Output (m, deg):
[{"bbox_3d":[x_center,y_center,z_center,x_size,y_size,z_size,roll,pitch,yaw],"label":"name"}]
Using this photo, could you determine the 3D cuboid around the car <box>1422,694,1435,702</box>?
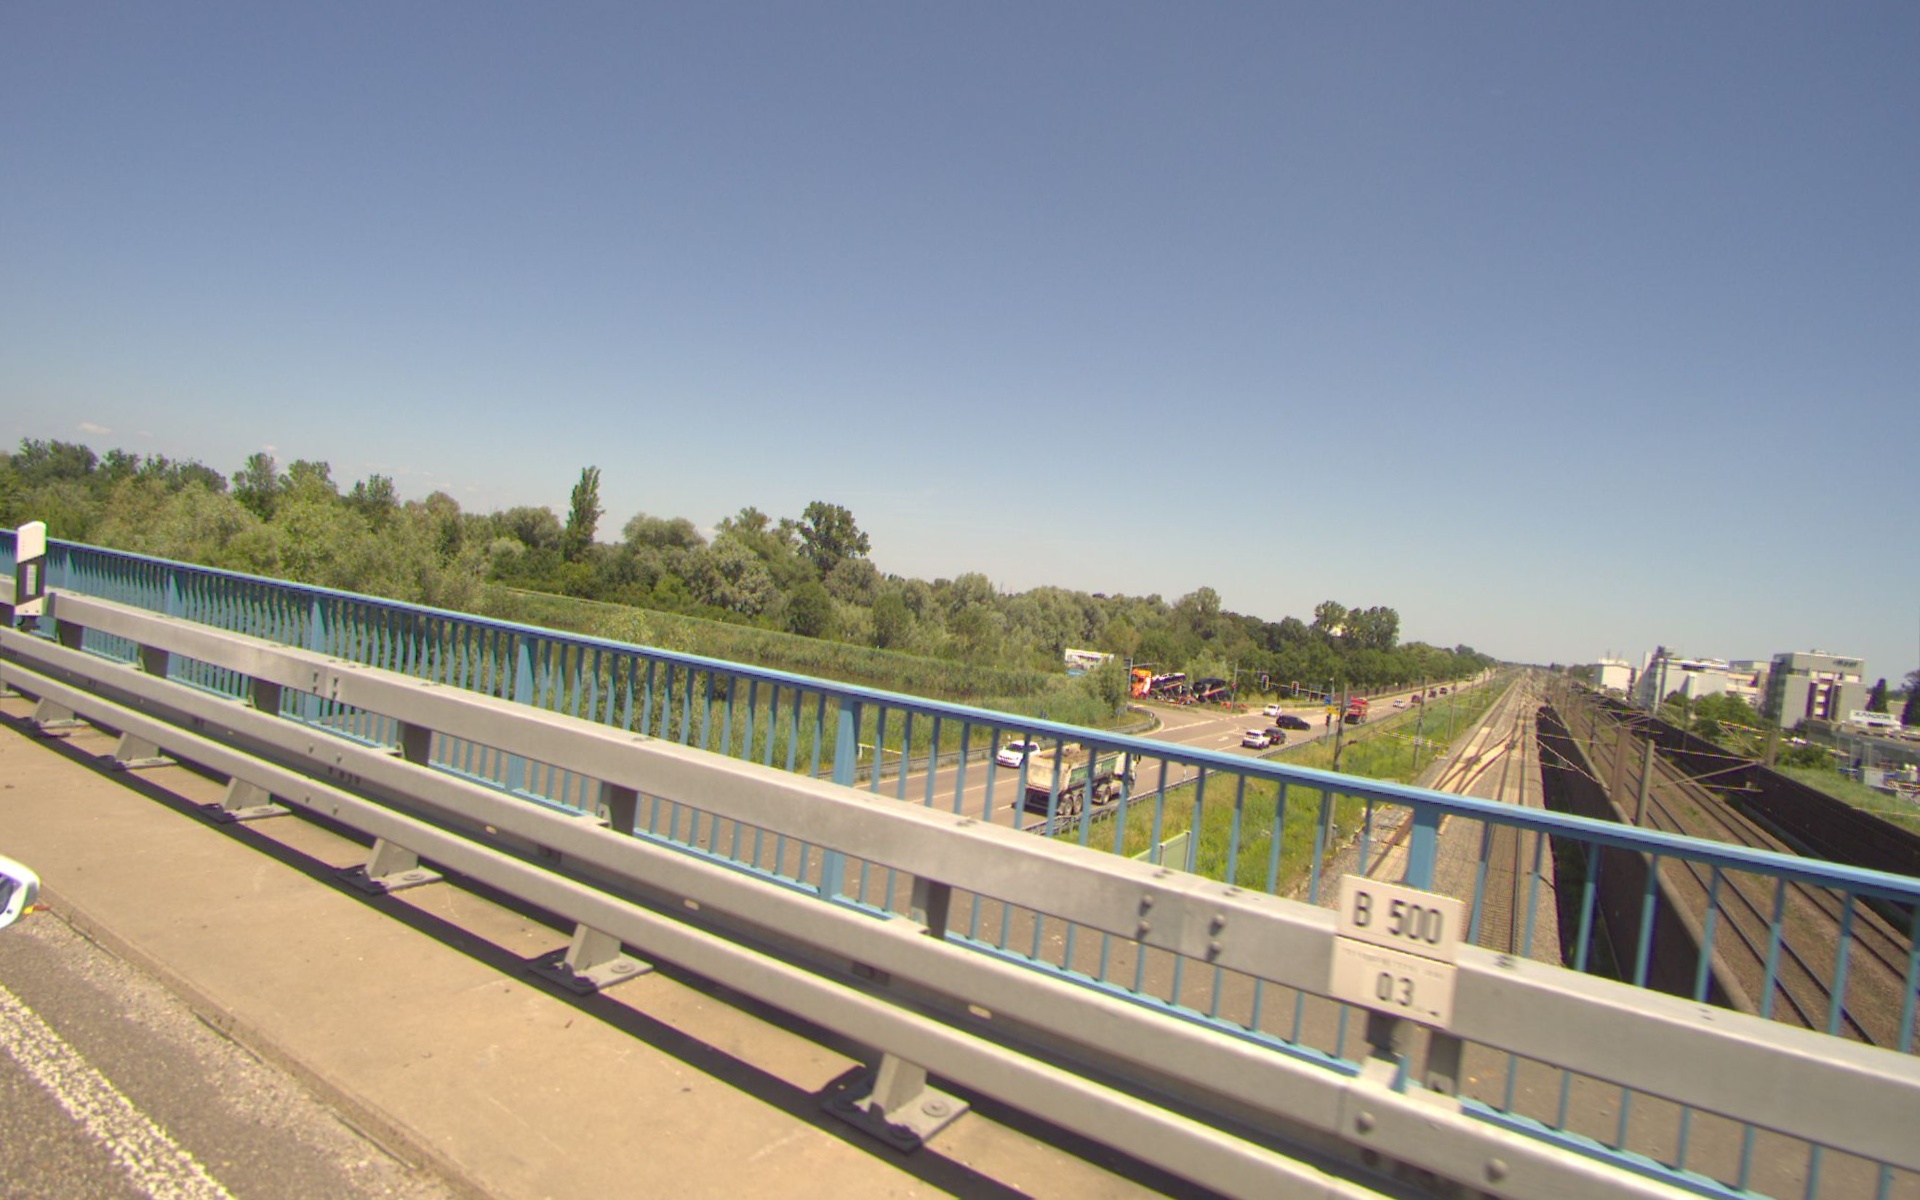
[{"bbox_3d":[107.616,22.489,230.930,1.967,1.638,4.234,9,1,32],"label":"car"}]

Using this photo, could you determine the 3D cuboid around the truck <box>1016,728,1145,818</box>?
[{"bbox_3d":[7.153,9.572,57.303,2.826,3.467,11.922,8,1,28],"label":"truck"}]

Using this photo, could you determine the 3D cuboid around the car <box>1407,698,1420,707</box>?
[{"bbox_3d":[102.355,23.016,226.923,1.967,1.638,4.234,9,1,32],"label":"car"}]

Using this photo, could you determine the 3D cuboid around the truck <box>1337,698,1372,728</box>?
[{"bbox_3d":[56.494,16.084,143.779,2.826,3.467,10.971,8,1,29],"label":"truck"}]

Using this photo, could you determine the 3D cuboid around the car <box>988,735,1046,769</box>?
[{"bbox_3d":[3.838,10.107,67.112,1.966,1.638,4.236,9,1,31],"label":"car"}]

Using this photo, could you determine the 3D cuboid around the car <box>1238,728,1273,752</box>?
[{"bbox_3d":[27.891,13.156,94.844,1.967,1.638,4.234,9,1,32],"label":"car"}]

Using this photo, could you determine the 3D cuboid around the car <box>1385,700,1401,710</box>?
[{"bbox_3d":[84.604,20.499,196.547,1.967,1.638,4.234,9,1,32],"label":"car"}]

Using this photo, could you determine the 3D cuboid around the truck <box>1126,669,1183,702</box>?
[{"bbox_3d":[25.434,11.208,131.782,6.705,3.398,1.998,7,0,-8],"label":"truck"}]

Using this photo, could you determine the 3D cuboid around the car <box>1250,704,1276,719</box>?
[{"bbox_3d":[39.546,14.509,131.117,1.968,1.638,4.233,9,1,34],"label":"car"}]

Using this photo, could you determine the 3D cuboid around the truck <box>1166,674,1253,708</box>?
[{"bbox_3d":[33.356,12.181,134.235,12.294,3.397,1.990,7,-1,-23],"label":"truck"}]

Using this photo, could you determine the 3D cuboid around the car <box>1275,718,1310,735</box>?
[{"bbox_3d":[39.393,14.989,119.114,4.216,1.638,1.975,8,1,-42],"label":"car"}]

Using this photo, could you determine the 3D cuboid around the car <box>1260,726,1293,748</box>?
[{"bbox_3d":[31.756,13.744,100.876,1.967,1.638,4.234,9,1,32],"label":"car"}]
